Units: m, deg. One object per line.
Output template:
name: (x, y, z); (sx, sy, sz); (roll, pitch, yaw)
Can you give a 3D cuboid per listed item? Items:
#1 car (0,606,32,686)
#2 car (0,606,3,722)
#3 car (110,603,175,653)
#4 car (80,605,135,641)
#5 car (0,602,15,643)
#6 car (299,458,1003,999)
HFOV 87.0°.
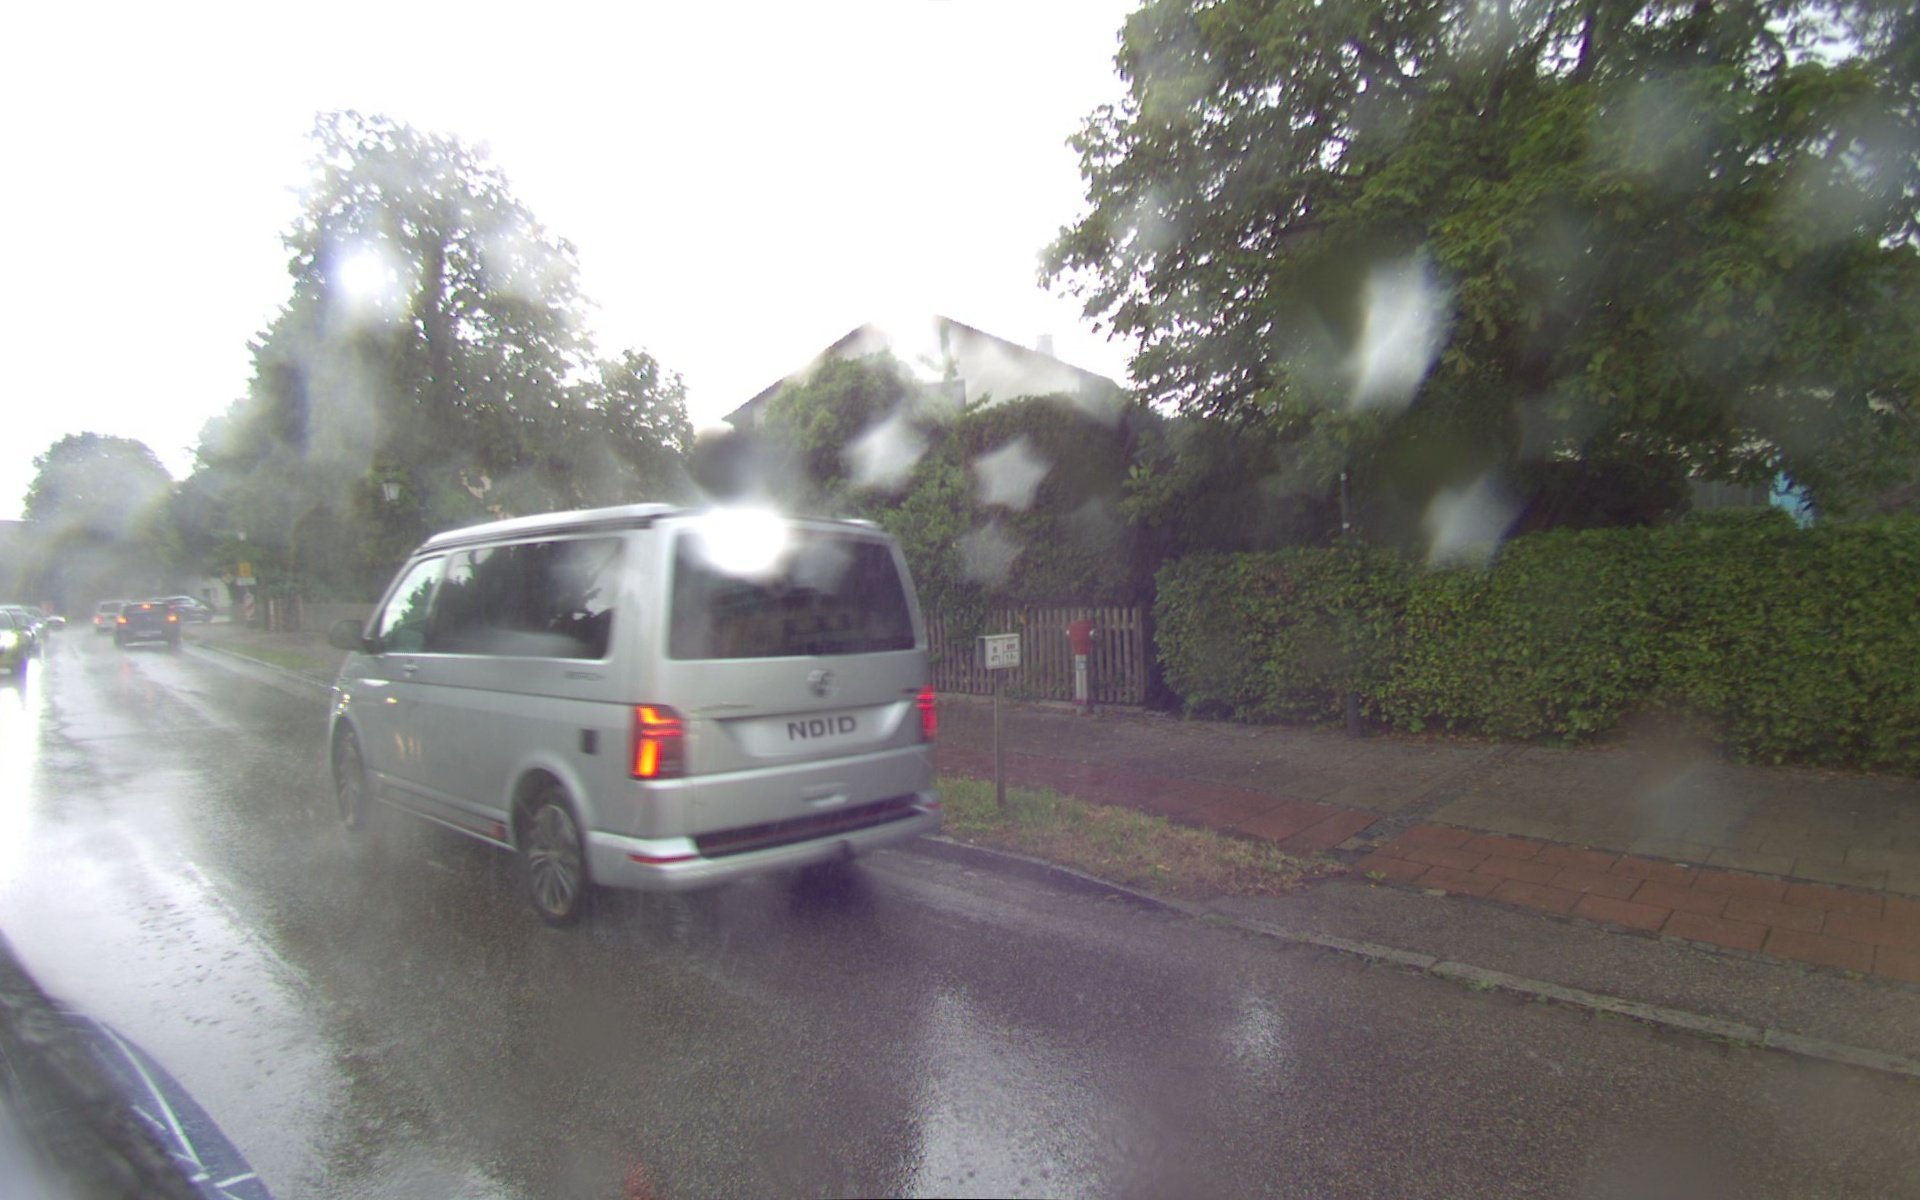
car: (-22.608, 1.045, 23.188); (1.845, 1.624, 4.967); (-4, 3, -42)
car: (-12.649, 0.852, 11.931); (1.845, 1.532, 4.193); (-2, 1, -42)
car: (-28.420, 0.938, 35.155); (1.567, 1.622, 3.543); (0, -1, -42)
car: (-41.867, 1.109, 49.661); (1.733, 1.690, 4.002); (1, -1, -45)
car: (-38.308, 0.905, 39.524); (1.845, 1.532, 4.967); (-4, 3, -42)
car: (-2.133, 0.496, 5.987); (4.700, 1.986, 1.831); (-1, -1, 42)
